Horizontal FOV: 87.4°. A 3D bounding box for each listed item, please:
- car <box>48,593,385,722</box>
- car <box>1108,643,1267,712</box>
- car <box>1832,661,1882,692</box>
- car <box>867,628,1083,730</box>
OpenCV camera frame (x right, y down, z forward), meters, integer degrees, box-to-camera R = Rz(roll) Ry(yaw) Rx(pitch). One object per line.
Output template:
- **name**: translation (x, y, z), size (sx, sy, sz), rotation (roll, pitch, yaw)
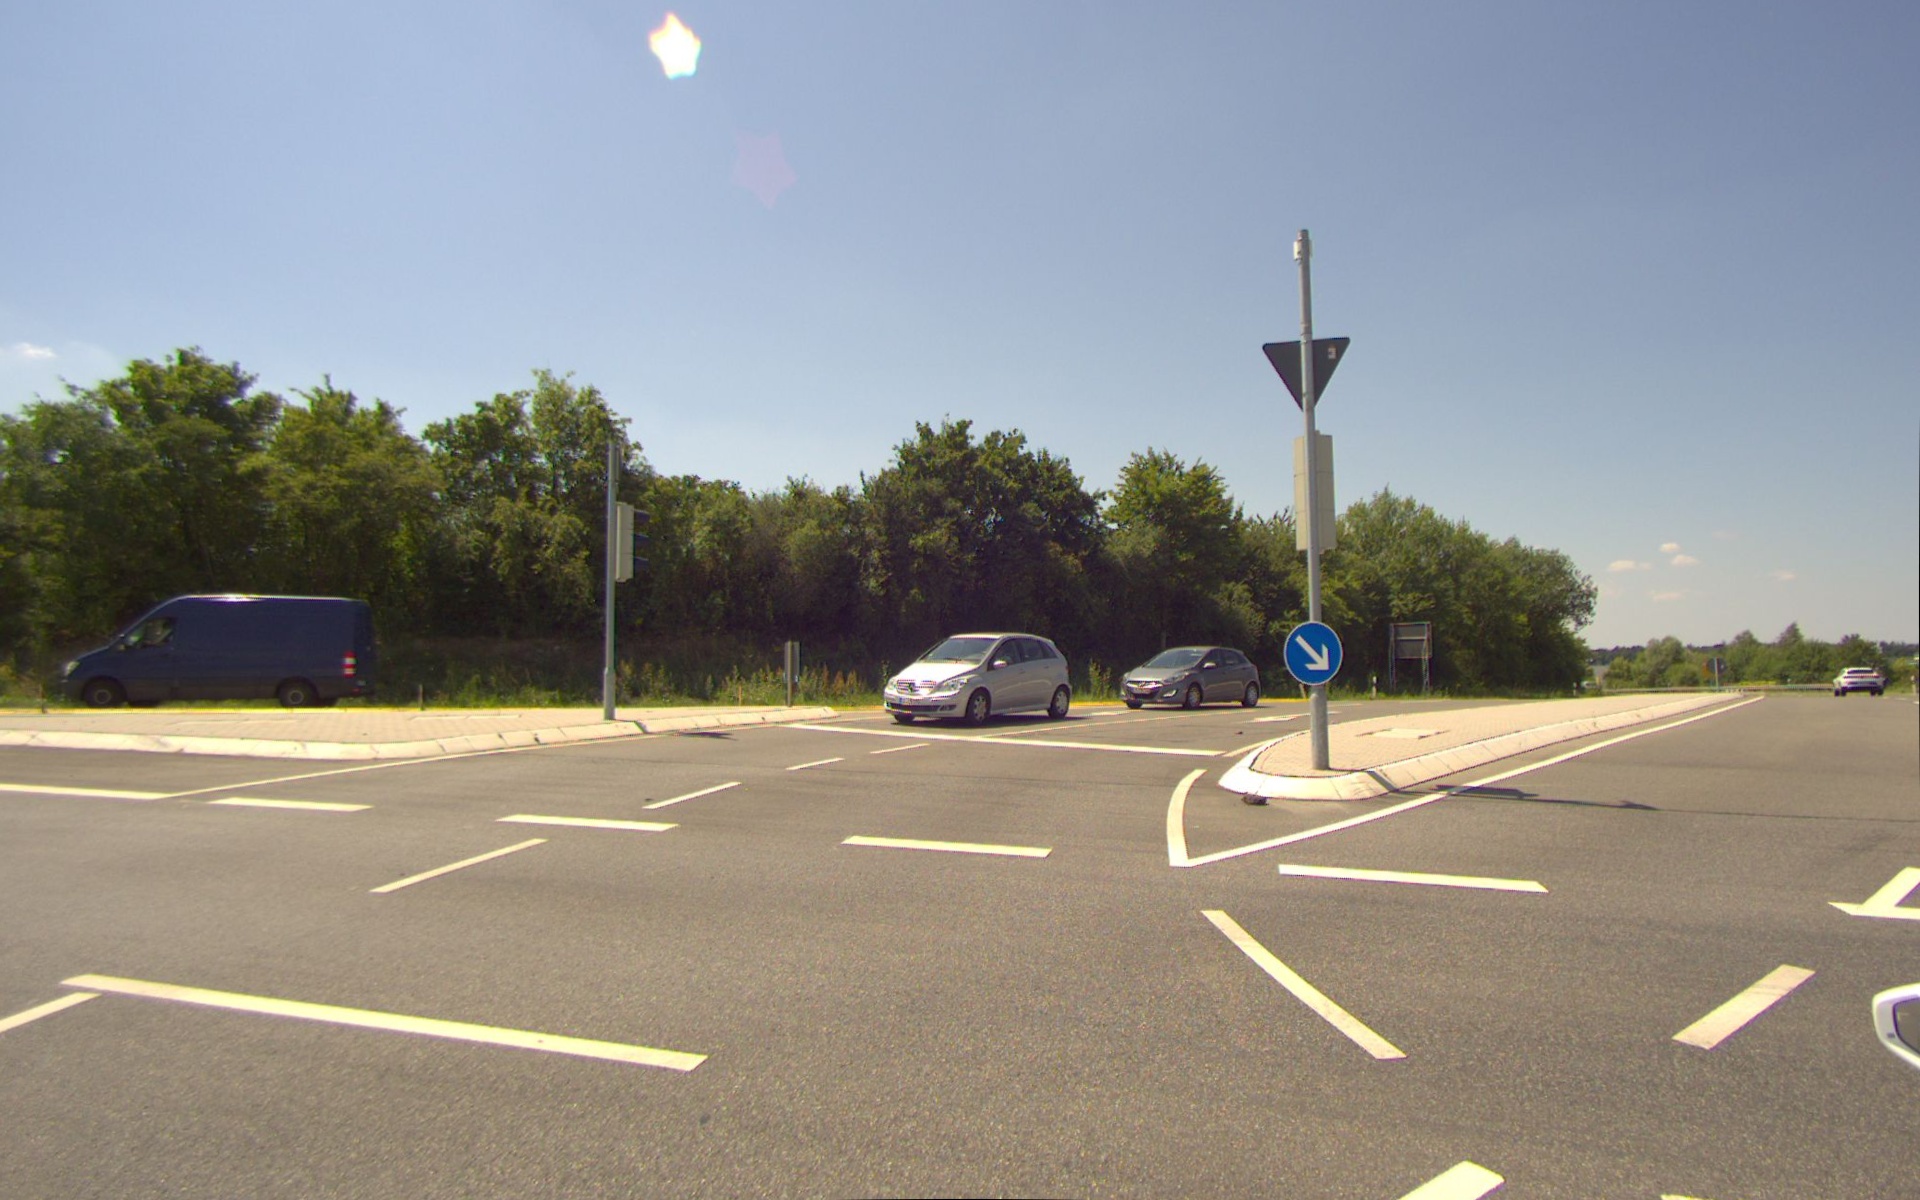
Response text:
- **car**: translation (-16.812, 1.297, 23.161), size (5.804, 2.740, 2.057), rotation (1, -2, -19)
- **car**: translation (5.504, 1.802, 23.944), size (1.675, 1.475, 4.302), rotation (-1, -3, 45)
- **car**: translation (50.313, 4.258, 56.374), size (1.780, 1.577, 3.984), rotation (-1, -2, 38)
- **car**: translation (0.400, 1.340, 18.323), size (1.748, 1.616, 4.313), rotation (-1, -2, 37)
